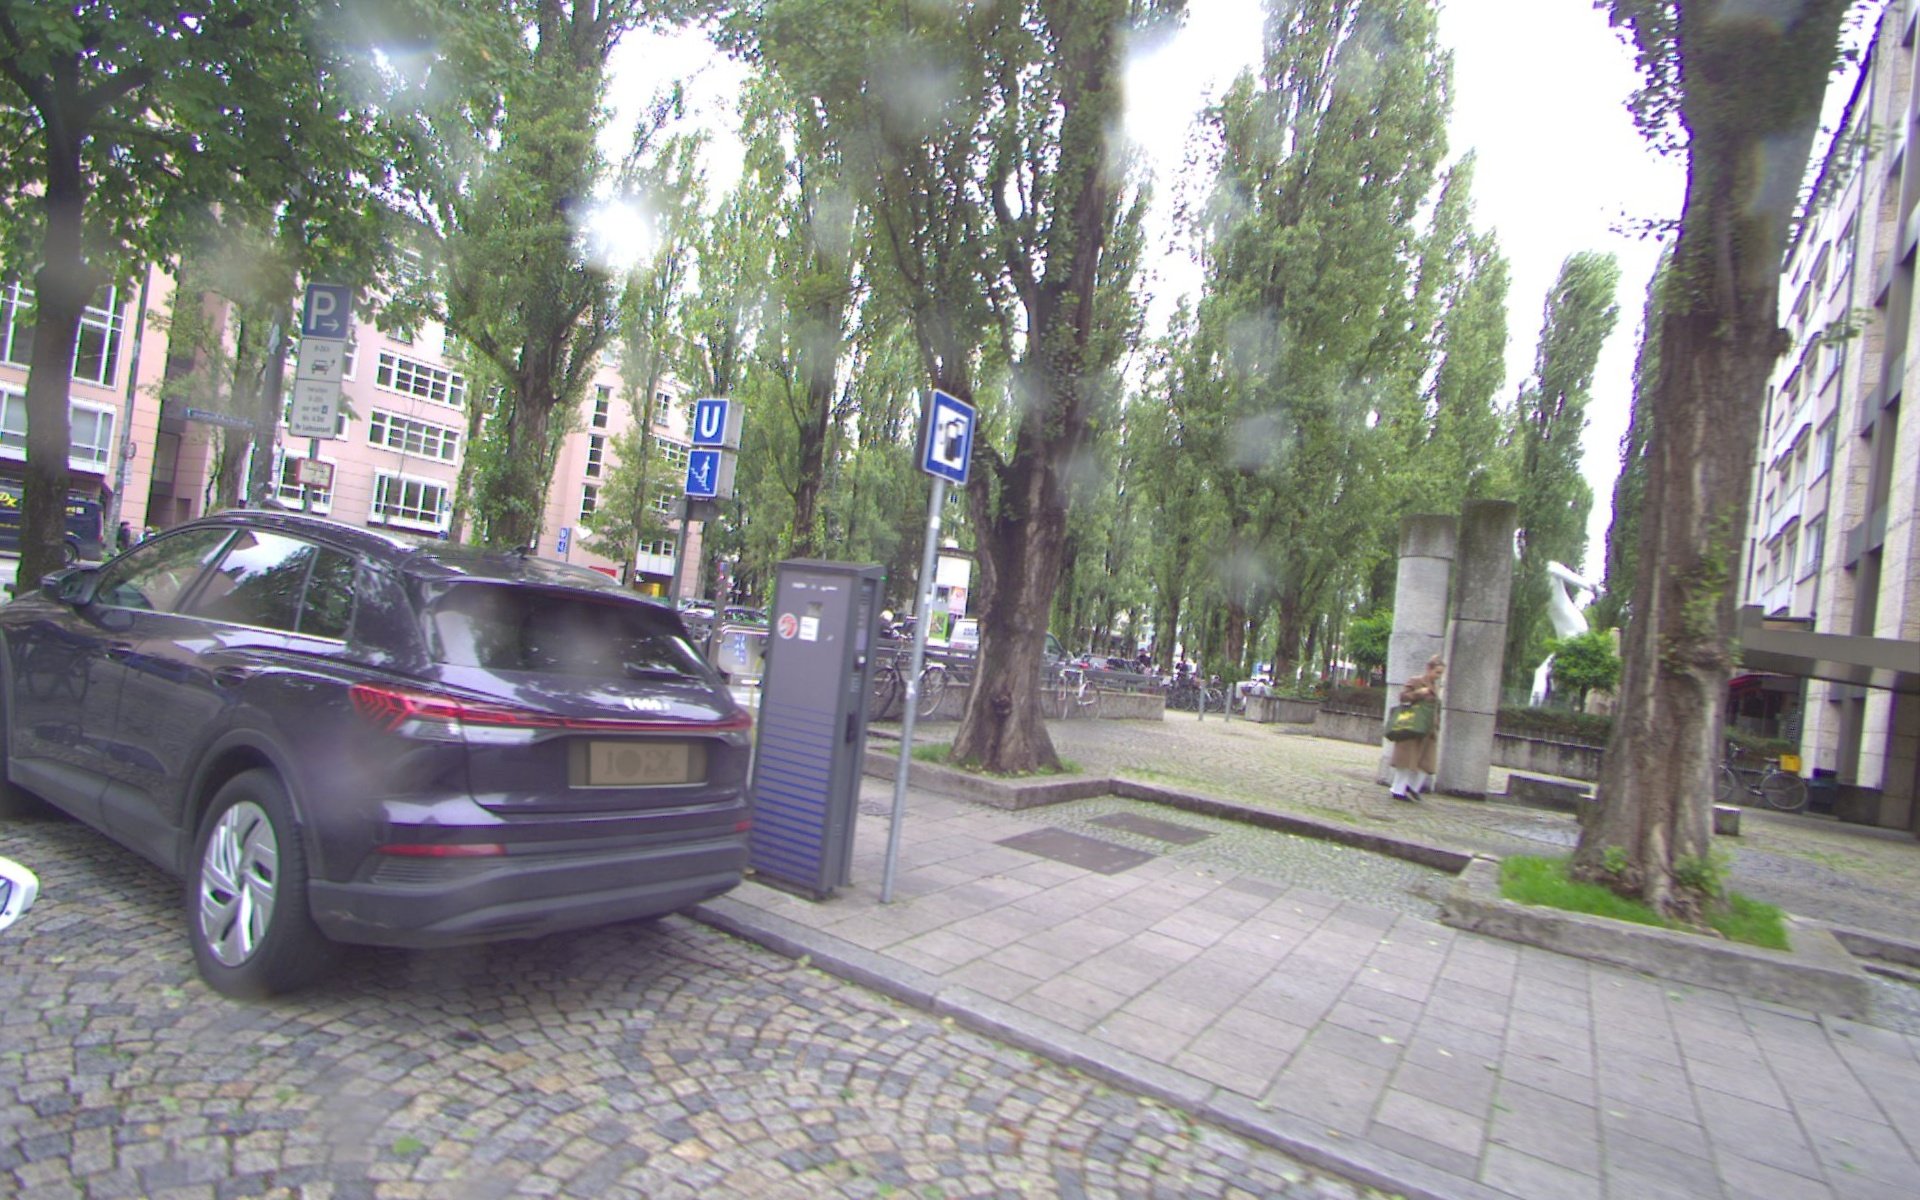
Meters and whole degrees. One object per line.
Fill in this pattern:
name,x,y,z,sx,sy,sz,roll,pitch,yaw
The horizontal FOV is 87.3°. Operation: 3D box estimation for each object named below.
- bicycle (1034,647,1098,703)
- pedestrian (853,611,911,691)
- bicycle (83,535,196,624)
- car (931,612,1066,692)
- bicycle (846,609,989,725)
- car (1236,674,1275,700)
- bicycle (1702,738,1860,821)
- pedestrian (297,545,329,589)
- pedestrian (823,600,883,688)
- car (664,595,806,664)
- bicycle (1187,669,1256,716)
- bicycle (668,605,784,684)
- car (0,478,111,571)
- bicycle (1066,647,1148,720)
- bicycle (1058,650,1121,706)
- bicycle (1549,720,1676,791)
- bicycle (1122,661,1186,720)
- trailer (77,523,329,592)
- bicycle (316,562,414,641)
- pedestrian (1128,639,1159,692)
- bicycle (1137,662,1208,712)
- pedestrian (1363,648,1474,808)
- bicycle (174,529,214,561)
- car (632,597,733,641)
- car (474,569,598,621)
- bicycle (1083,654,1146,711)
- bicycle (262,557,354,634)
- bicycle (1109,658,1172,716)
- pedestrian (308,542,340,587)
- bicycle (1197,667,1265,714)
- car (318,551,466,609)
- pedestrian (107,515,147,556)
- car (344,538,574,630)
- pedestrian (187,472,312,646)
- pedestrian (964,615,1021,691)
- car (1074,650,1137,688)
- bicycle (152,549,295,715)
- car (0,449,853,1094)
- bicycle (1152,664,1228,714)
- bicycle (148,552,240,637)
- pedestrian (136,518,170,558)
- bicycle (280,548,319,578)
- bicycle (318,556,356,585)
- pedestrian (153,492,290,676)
bicycle,2.533,1.787,23.854,0.578,1.173,1.866,7,-2,34
pedestrian,-1.707,1.117,21.946,0.688,1.625,0.831,7,-1,38
bicycle,-11.652,-0.301,14.270,1.844,1.063,0.475,6,-1,28
car,1.314,1.677,31.062,1.784,1.917,5.200,8,-2,29
bicycle,-0.495,0.886,12.723,0.710,1.291,1.866,7,-2,34
car,22.195,6.541,75.410,1.719,1.564,3.946,8,-1,31
bicycle,15.954,3.461,19.630,2.209,1.169,0.647,7,-1,33
pedestrian,-27.082,-1.371,42.101,0.698,1.733,0.730,7,-1,34
pedestrian,-2.372,0.983,22.431,0.739,1.824,0.840,7,-1,38
car,-6.713,0.937,30.336,1.720,1.544,3.900,8,-1,34
bicycle,8.024,2.844,30.896,1.840,1.173,0.586,7,-1,35
bicycle,-4.088,0.798,17.683,0.580,1.173,1.860,7,-2,44
car,-26.921,-2.309,27.265,1.991,2.222,5.487,7,-2,33
bicycle,2.647,1.518,17.982,0.578,1.173,1.866,7,-2,34
bicycle,3.043,1.846,23.515,0.578,1.173,1.866,7,-2,34
bicycle,14.325,3.394,22.152,2.209,1.169,0.647,7,-1,33
bicycle,4.296,2.009,22.138,0.578,1.173,1.866,7,-2,34
trailer,-23.865,-1.290,32.019,2.366,1.213,5.918,7,-2,34
bicycle,-9.973,0.006,16.839,1.899,1.118,0.512,6,-1,33
pedestrian,6.859,2.459,37.583,0.689,1.862,0.704,7,-1,36
bicycle,6.193,2.531,29.389,1.840,1.173,0.586,7,-1,35
pedestrian,5.109,1.404,11.242,0.707,1.625,0.709,7,-1,-4
bicycle,-32.722,-2.341,42.958,1.957,1.138,0.674,7,-1,34
car,-13.333,0.934,48.538,1.968,1.559,4.316,7,-2,34
car,-17.688,-0.164,42.149,1.967,1.559,4.319,7,-2,31
bicycle,3.581,1.909,23.131,0.578,1.173,1.866,7,-2,34
bicycle,-10.484,-0.088,16.159,1.847,1.063,0.475,5,-2,35
bicycle,4.096,1.983,22.752,0.578,1.173,1.866,7,-2,34
pedestrian,-26.015,-1.444,41.156,0.698,1.733,0.730,7,-1,34
bicycle,8.449,2.817,31.434,1.840,1.173,0.586,7,-1,35
car,-20.580,-0.697,36.593,1.778,1.559,4.224,5,-2,35
pedestrian,-31.520,-2.440,38.078,0.718,1.385,0.710,7,-1,4
car,-11.616,-0.321,23.617,1.729,1.444,4.437,8,-1,36
pedestrian,-7.574,-0.433,10.730,0.655,1.716,0.802,7,-1,42
pedestrian,0.878,1.426,27.165,0.905,1.888,1.011,7,-1,38
car,7.799,3.717,53.607,1.719,1.609,3.946,8,-1,31
bicycle,-6.116,0.225,8.315,1.850,1.150,0.474,6,-1,42
car,-2.820,0.407,4.685,4.131,1.719,1.925,7,-2,31
bicycle,6.779,2.613,29.691,2.000,1.173,0.586,7,-1,35
bicycle,-11.661,-0.095,15.300,1.847,1.063,0.475,7,-1,35
pedestrian,-31.087,-2.387,38.744,0.698,1.385,0.730,7,-1,34
bicycle,-30.500,-1.715,46.449,2.073,1.138,0.674,7,-1,34
bicycle,-29.412,-1.411,47.499,1.957,1.138,0.674,7,-1,34
pedestrian,-7.373,-0.150,10.055,0.602,1.700,0.842,7,-1,42
